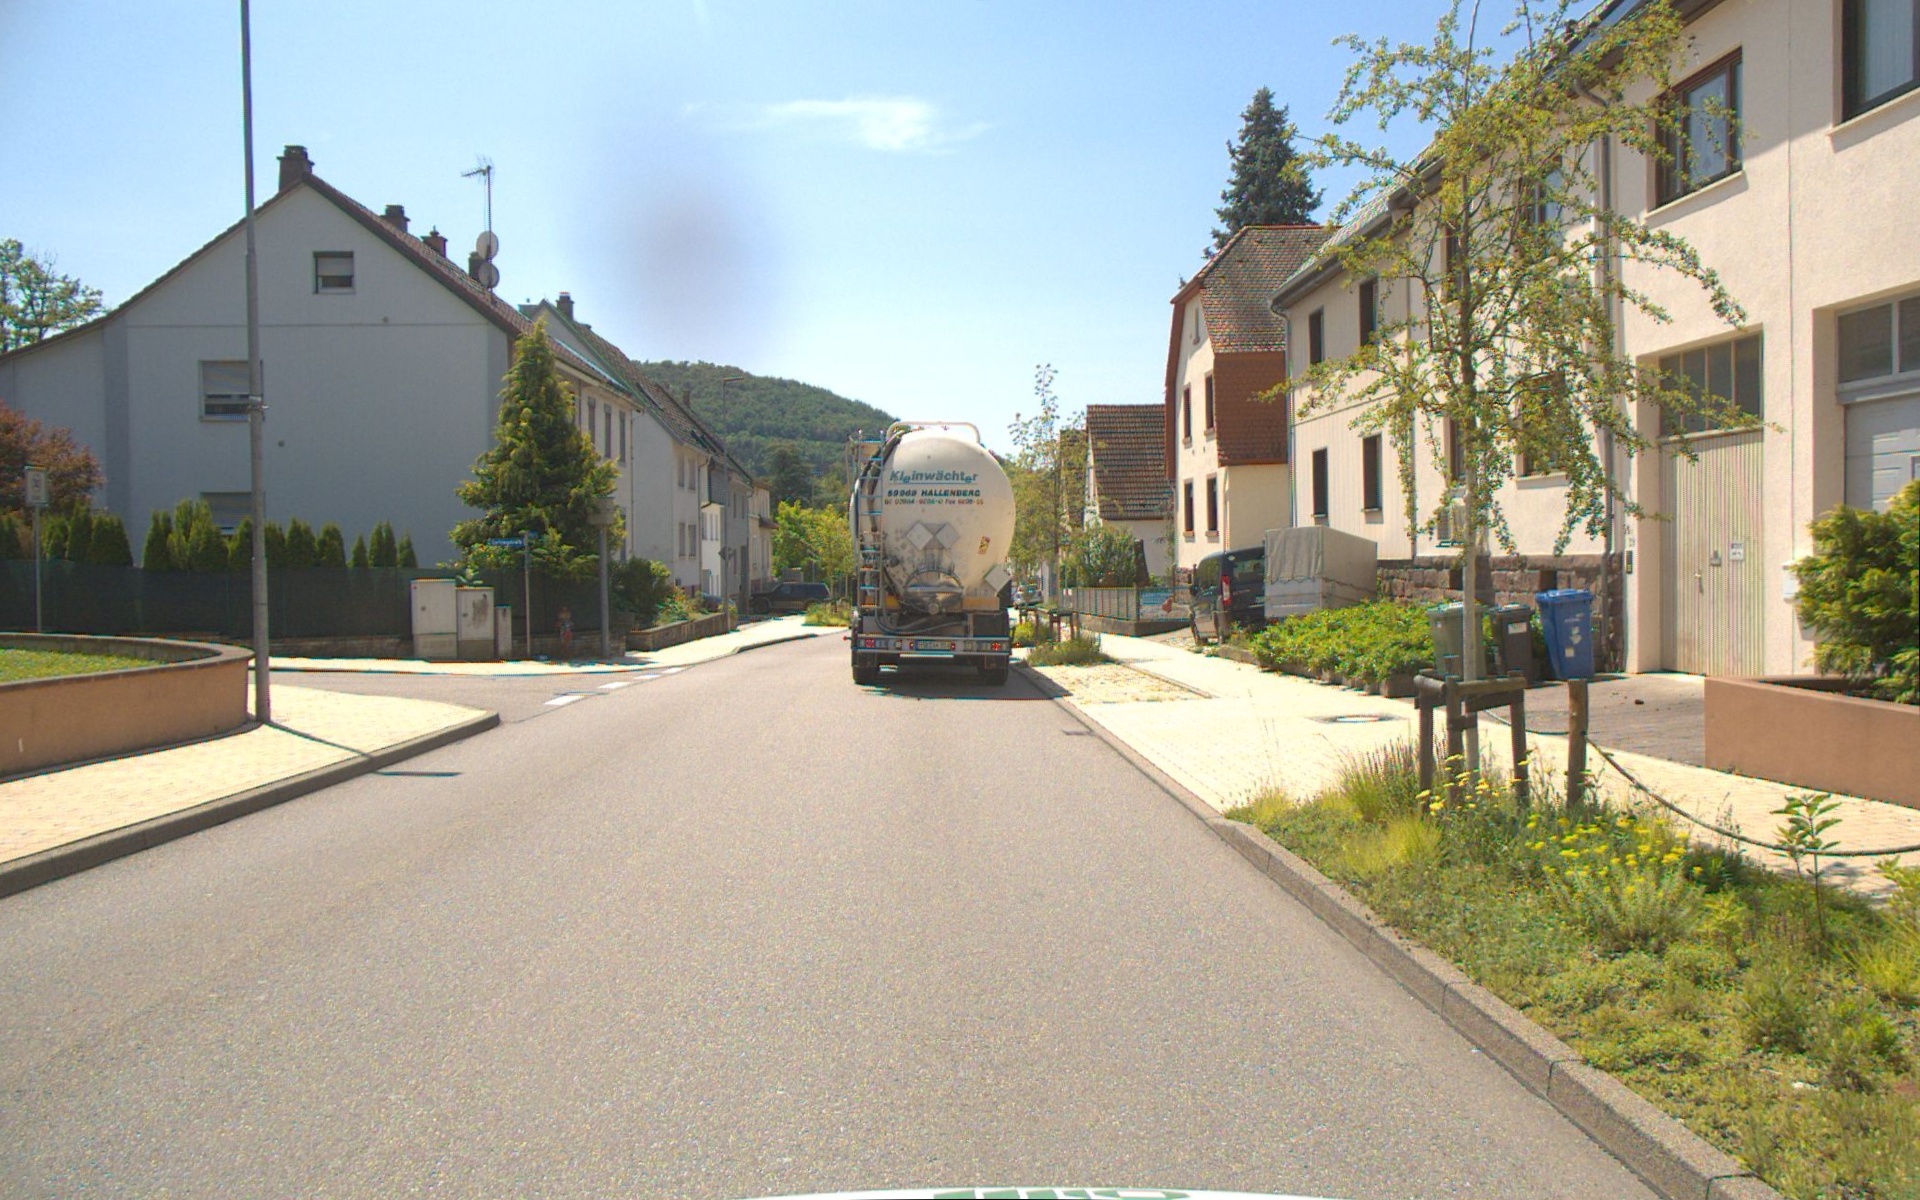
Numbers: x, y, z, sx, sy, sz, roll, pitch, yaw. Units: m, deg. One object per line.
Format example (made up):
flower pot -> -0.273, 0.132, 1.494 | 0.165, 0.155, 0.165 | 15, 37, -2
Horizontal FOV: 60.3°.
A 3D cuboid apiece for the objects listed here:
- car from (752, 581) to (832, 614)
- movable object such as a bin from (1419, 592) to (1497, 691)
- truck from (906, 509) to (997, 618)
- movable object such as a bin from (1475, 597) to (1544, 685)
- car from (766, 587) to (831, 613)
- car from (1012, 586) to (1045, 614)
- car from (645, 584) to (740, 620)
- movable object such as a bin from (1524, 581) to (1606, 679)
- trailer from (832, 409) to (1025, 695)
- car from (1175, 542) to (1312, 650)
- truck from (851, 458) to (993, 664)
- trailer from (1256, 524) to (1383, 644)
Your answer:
car -> -9.309, -0.149, 91.898 | 4.306, 1.781, 1.877 | 0, 0, -3
movable object such as a bin -> 6.051, 0.498, 20.125 | 0.670, 1.134, 0.812 | -4, 0, 4
truck -> -0.538, -1.737, 82.018 | 3.833, 4.981, 9.789 | -2, 0, -4
movable object such as a bin -> 6.727, 0.491, 20.271 | 0.546, 1.003, 0.803 | -5, 0, 5
car -> -9.357, -0.010, 96.057 | 3.477, 1.464, 1.694 | 0, 0, 33
car -> 4.238, -0.010, 102.751 | 1.754, 1.568, 4.519 | -3, 0, 0
car -> -11.801, 0.092, 73.063 | 3.906, 1.572, 1.832 | 0, 0, -1
movable object such as a bin -> 7.391, 0.361, 20.233 | 0.670, 1.125, 0.863 | -4, 0, 5
trailer -> -0.604, -0.738, 28.783 | 2.740, 4.070, 10.320 | 0, 1, -2
car -> 5.754, -0.081, 34.121 | 1.815, 2.005, 4.772 | -3, 0, -2
truck -> -0.752, -0.803, 35.503 | 2.751, 4.005, 6.099 | 1, 0, 0
trailer -> 6.412, -0.274, 29.435 | 1.300, 2.049, 2.261 | 0, 0, 41
